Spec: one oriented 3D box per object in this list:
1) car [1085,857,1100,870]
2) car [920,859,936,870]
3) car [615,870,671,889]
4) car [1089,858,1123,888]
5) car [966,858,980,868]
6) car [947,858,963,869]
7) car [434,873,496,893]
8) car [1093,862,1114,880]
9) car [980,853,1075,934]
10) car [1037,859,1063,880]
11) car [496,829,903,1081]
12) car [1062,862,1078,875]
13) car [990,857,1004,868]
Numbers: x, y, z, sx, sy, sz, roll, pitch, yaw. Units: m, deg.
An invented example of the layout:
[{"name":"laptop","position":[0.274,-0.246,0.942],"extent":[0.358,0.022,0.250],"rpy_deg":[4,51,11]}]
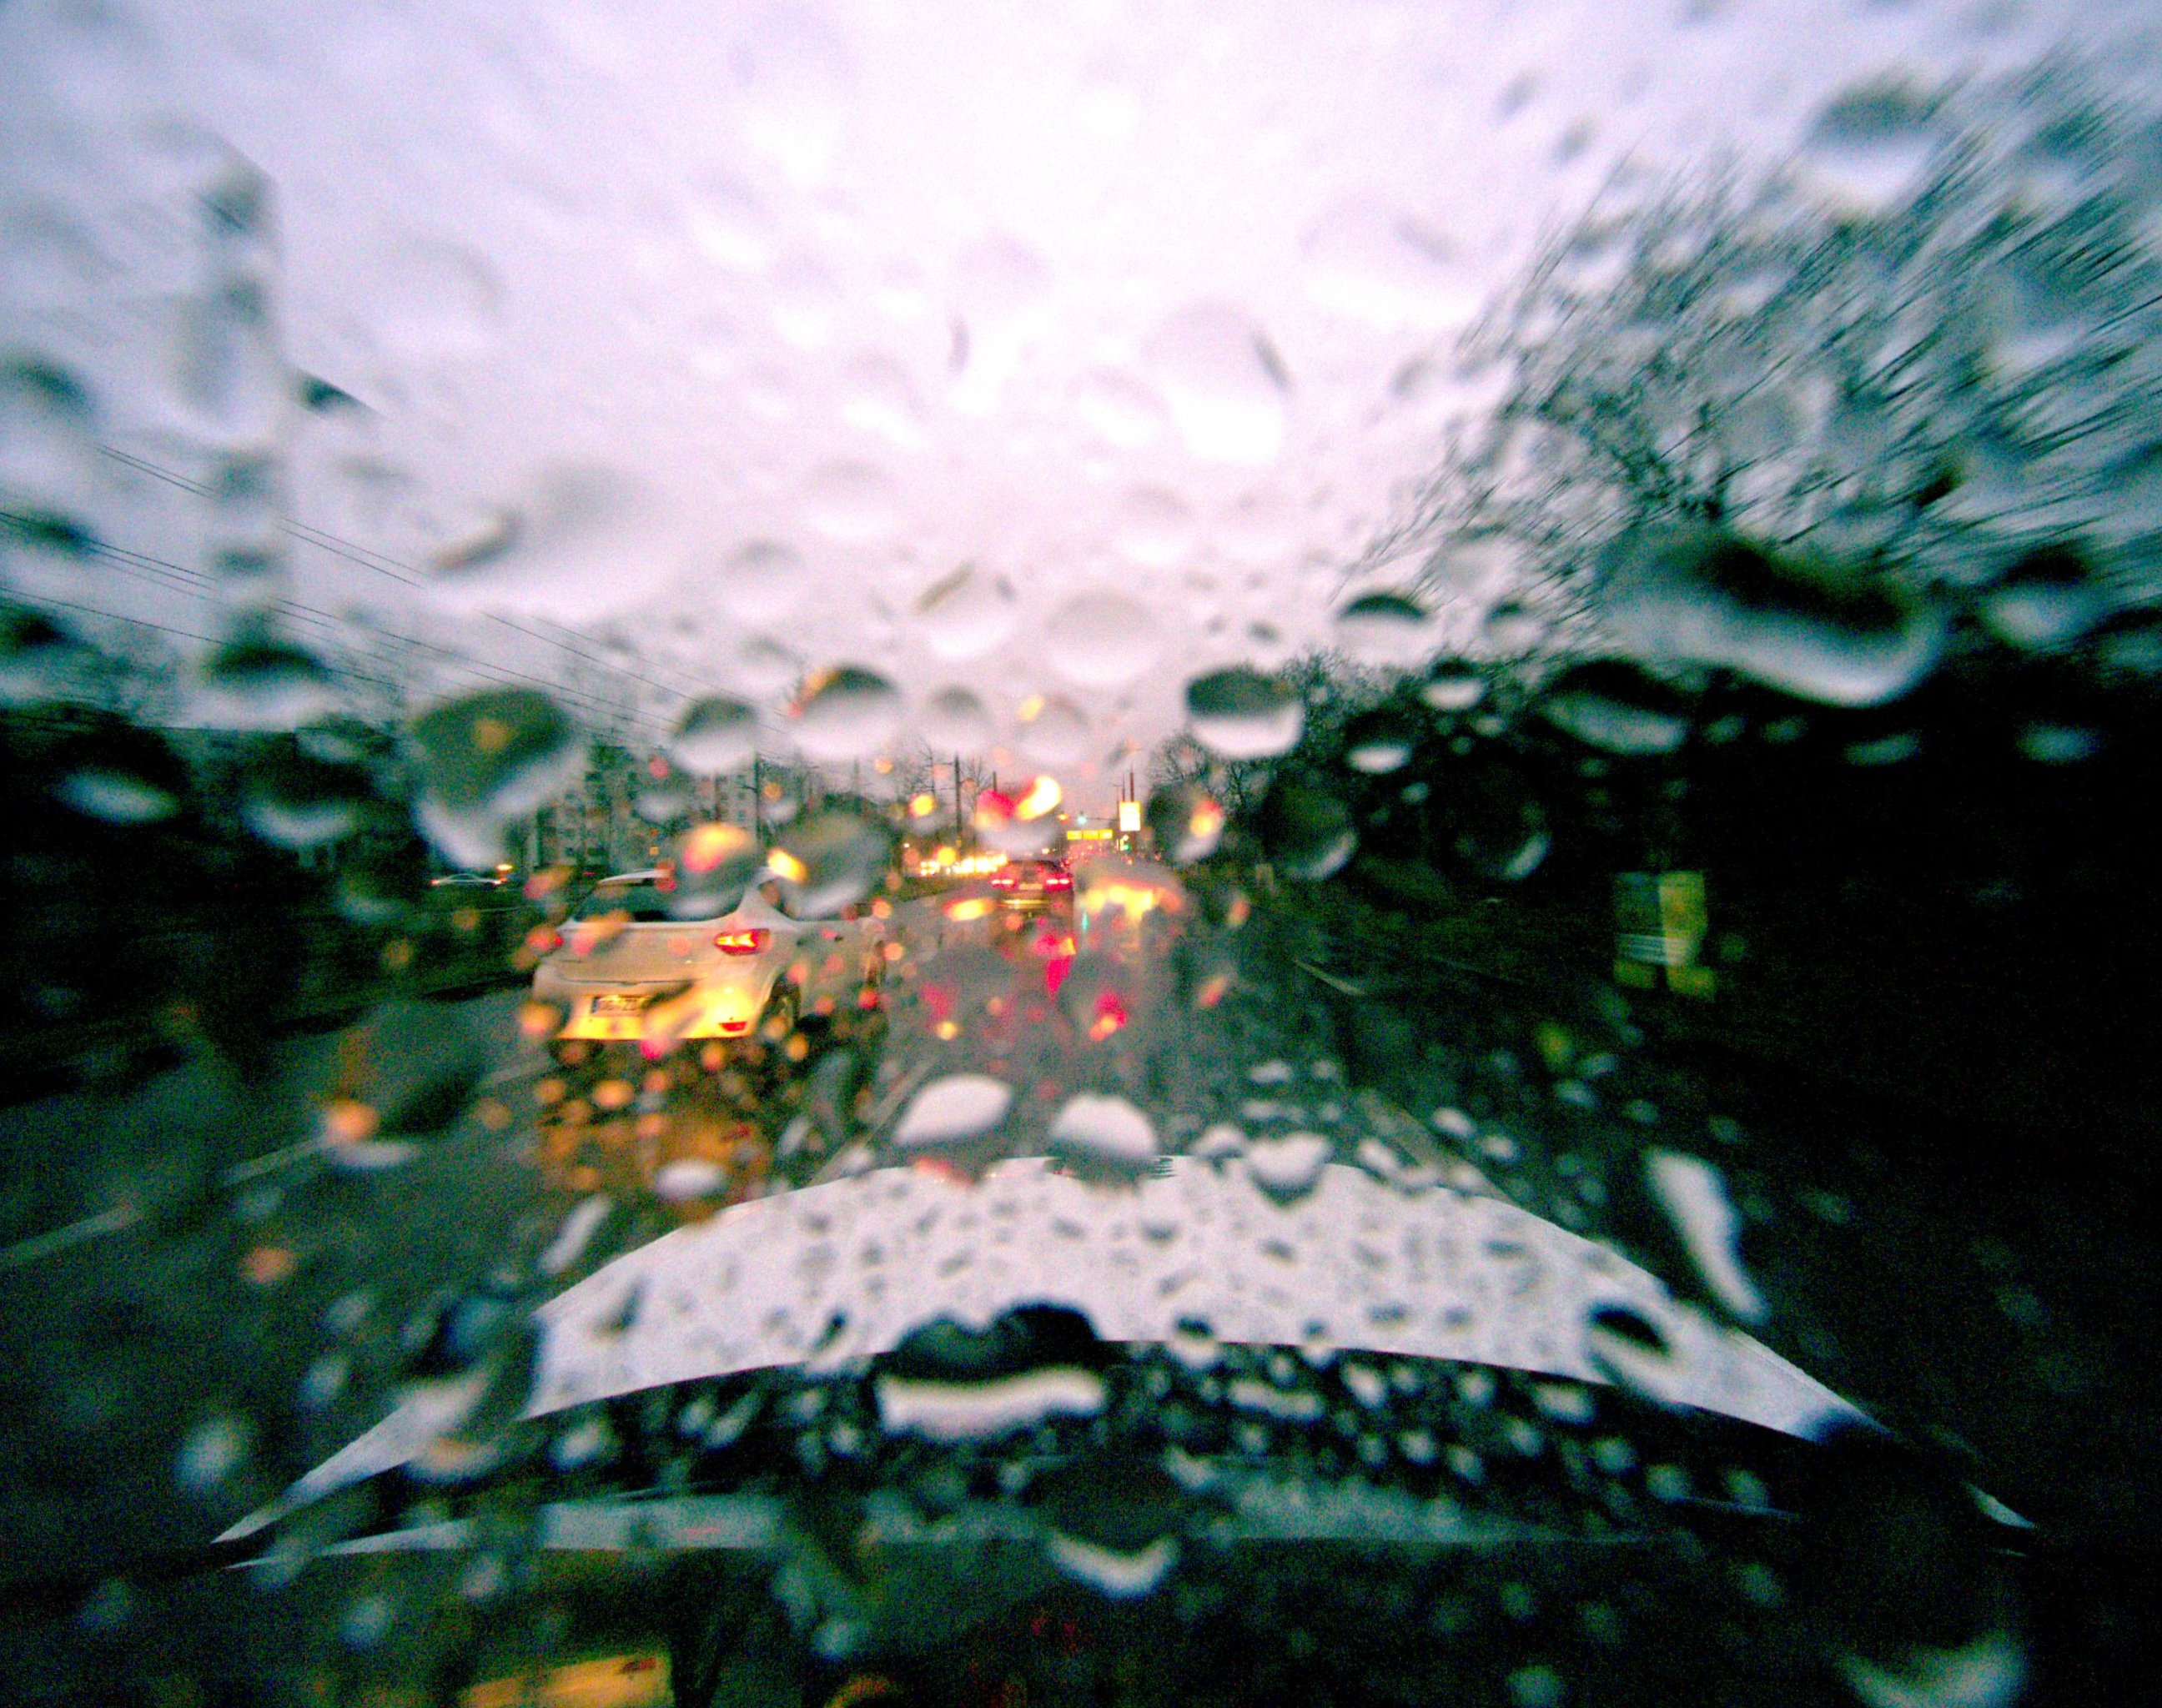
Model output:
[{"name":"car","position":[1.491,1.221,104.307],"extent":[1.816,1.504,4.001],"rpy_deg":[-2,0,1]},{"name":"car","position":[-23.750,1.628,126.140],"extent":[1.613,1.495,4.017],"rpy_deg":[-2,0,1]},{"name":"car","position":[-40.164,2.322,74.800],"extent":[4.450,1.544,1.835],"rpy_deg":[-2,0,-27]},{"name":"car","position":[1.434,1.071,47.458],"extent":[1.816,1.648,4.467],"rpy_deg":[-1,0,1]},{"name":"car","position":[-16.879,1.440,127.425],"extent":[1.647,1.420,3.325],"rpy_deg":[-2,0,0]},{"name":"car","position":[-19.459,1.445,125.661],"extent":[1.764,1.553,3.946],"rpy_deg":[-2,0,-1]},{"name":"car","position":[-53.633,2.509,70.977],"extent":[4.008,1.544,1.698],"rpy_deg":[-2,0,-27]},{"name":"car","position":[2.103,1.560,76.744],"extent":[1.987,1.662,4.000],"rpy_deg":[0,-1,1]},{"name":"car","position":[-1.145,0.827,19.322],"extent":[1.816,1.648,4.467],"rpy_deg":[-2,0,1]},{"name":"car","position":[-2.492,1.223,66.679],"extent":[1.816,1.648,4.001],"rpy_deg":[-2,0,1]},{"name":"car","position":[-3.027,0.686,7.558],"extent":[1.708,1.648,4.148],"rpy_deg":[-2,0,1]},{"name":"car","position":[-1.175,1.546,87.438],"extent":[1.500,1.339,4.001],"rpy_deg":[-2,0,1]},{"name":"car","position":[-13.114,1.272,127.095],"extent":[1.851,1.581,4.078],"rpy_deg":[-2,0,-1]}]
